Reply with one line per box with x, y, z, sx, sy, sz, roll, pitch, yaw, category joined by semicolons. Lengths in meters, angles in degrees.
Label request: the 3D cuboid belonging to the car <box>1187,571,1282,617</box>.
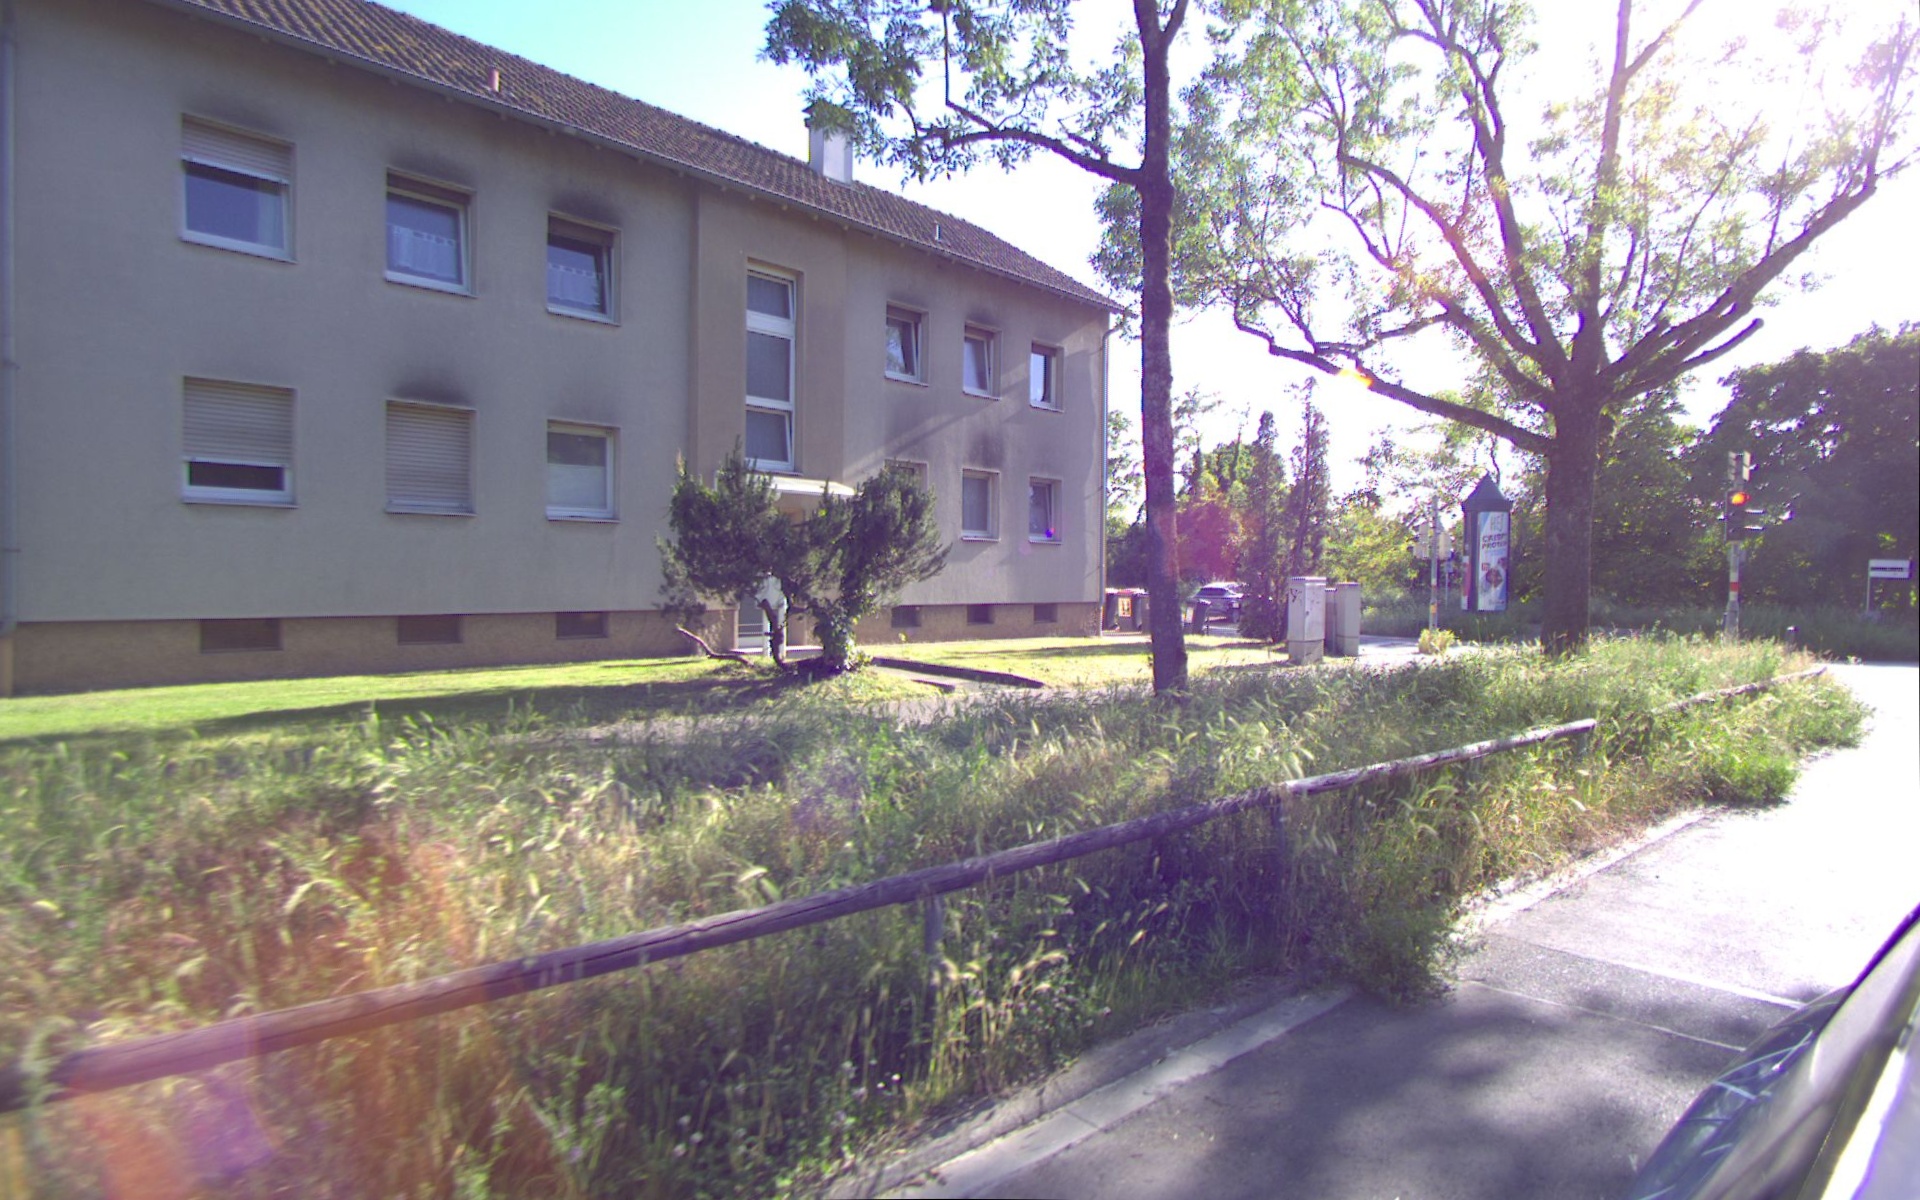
11.513;-0.274;42.266;4.377;1.670;1.864;-4;3;-44;car
